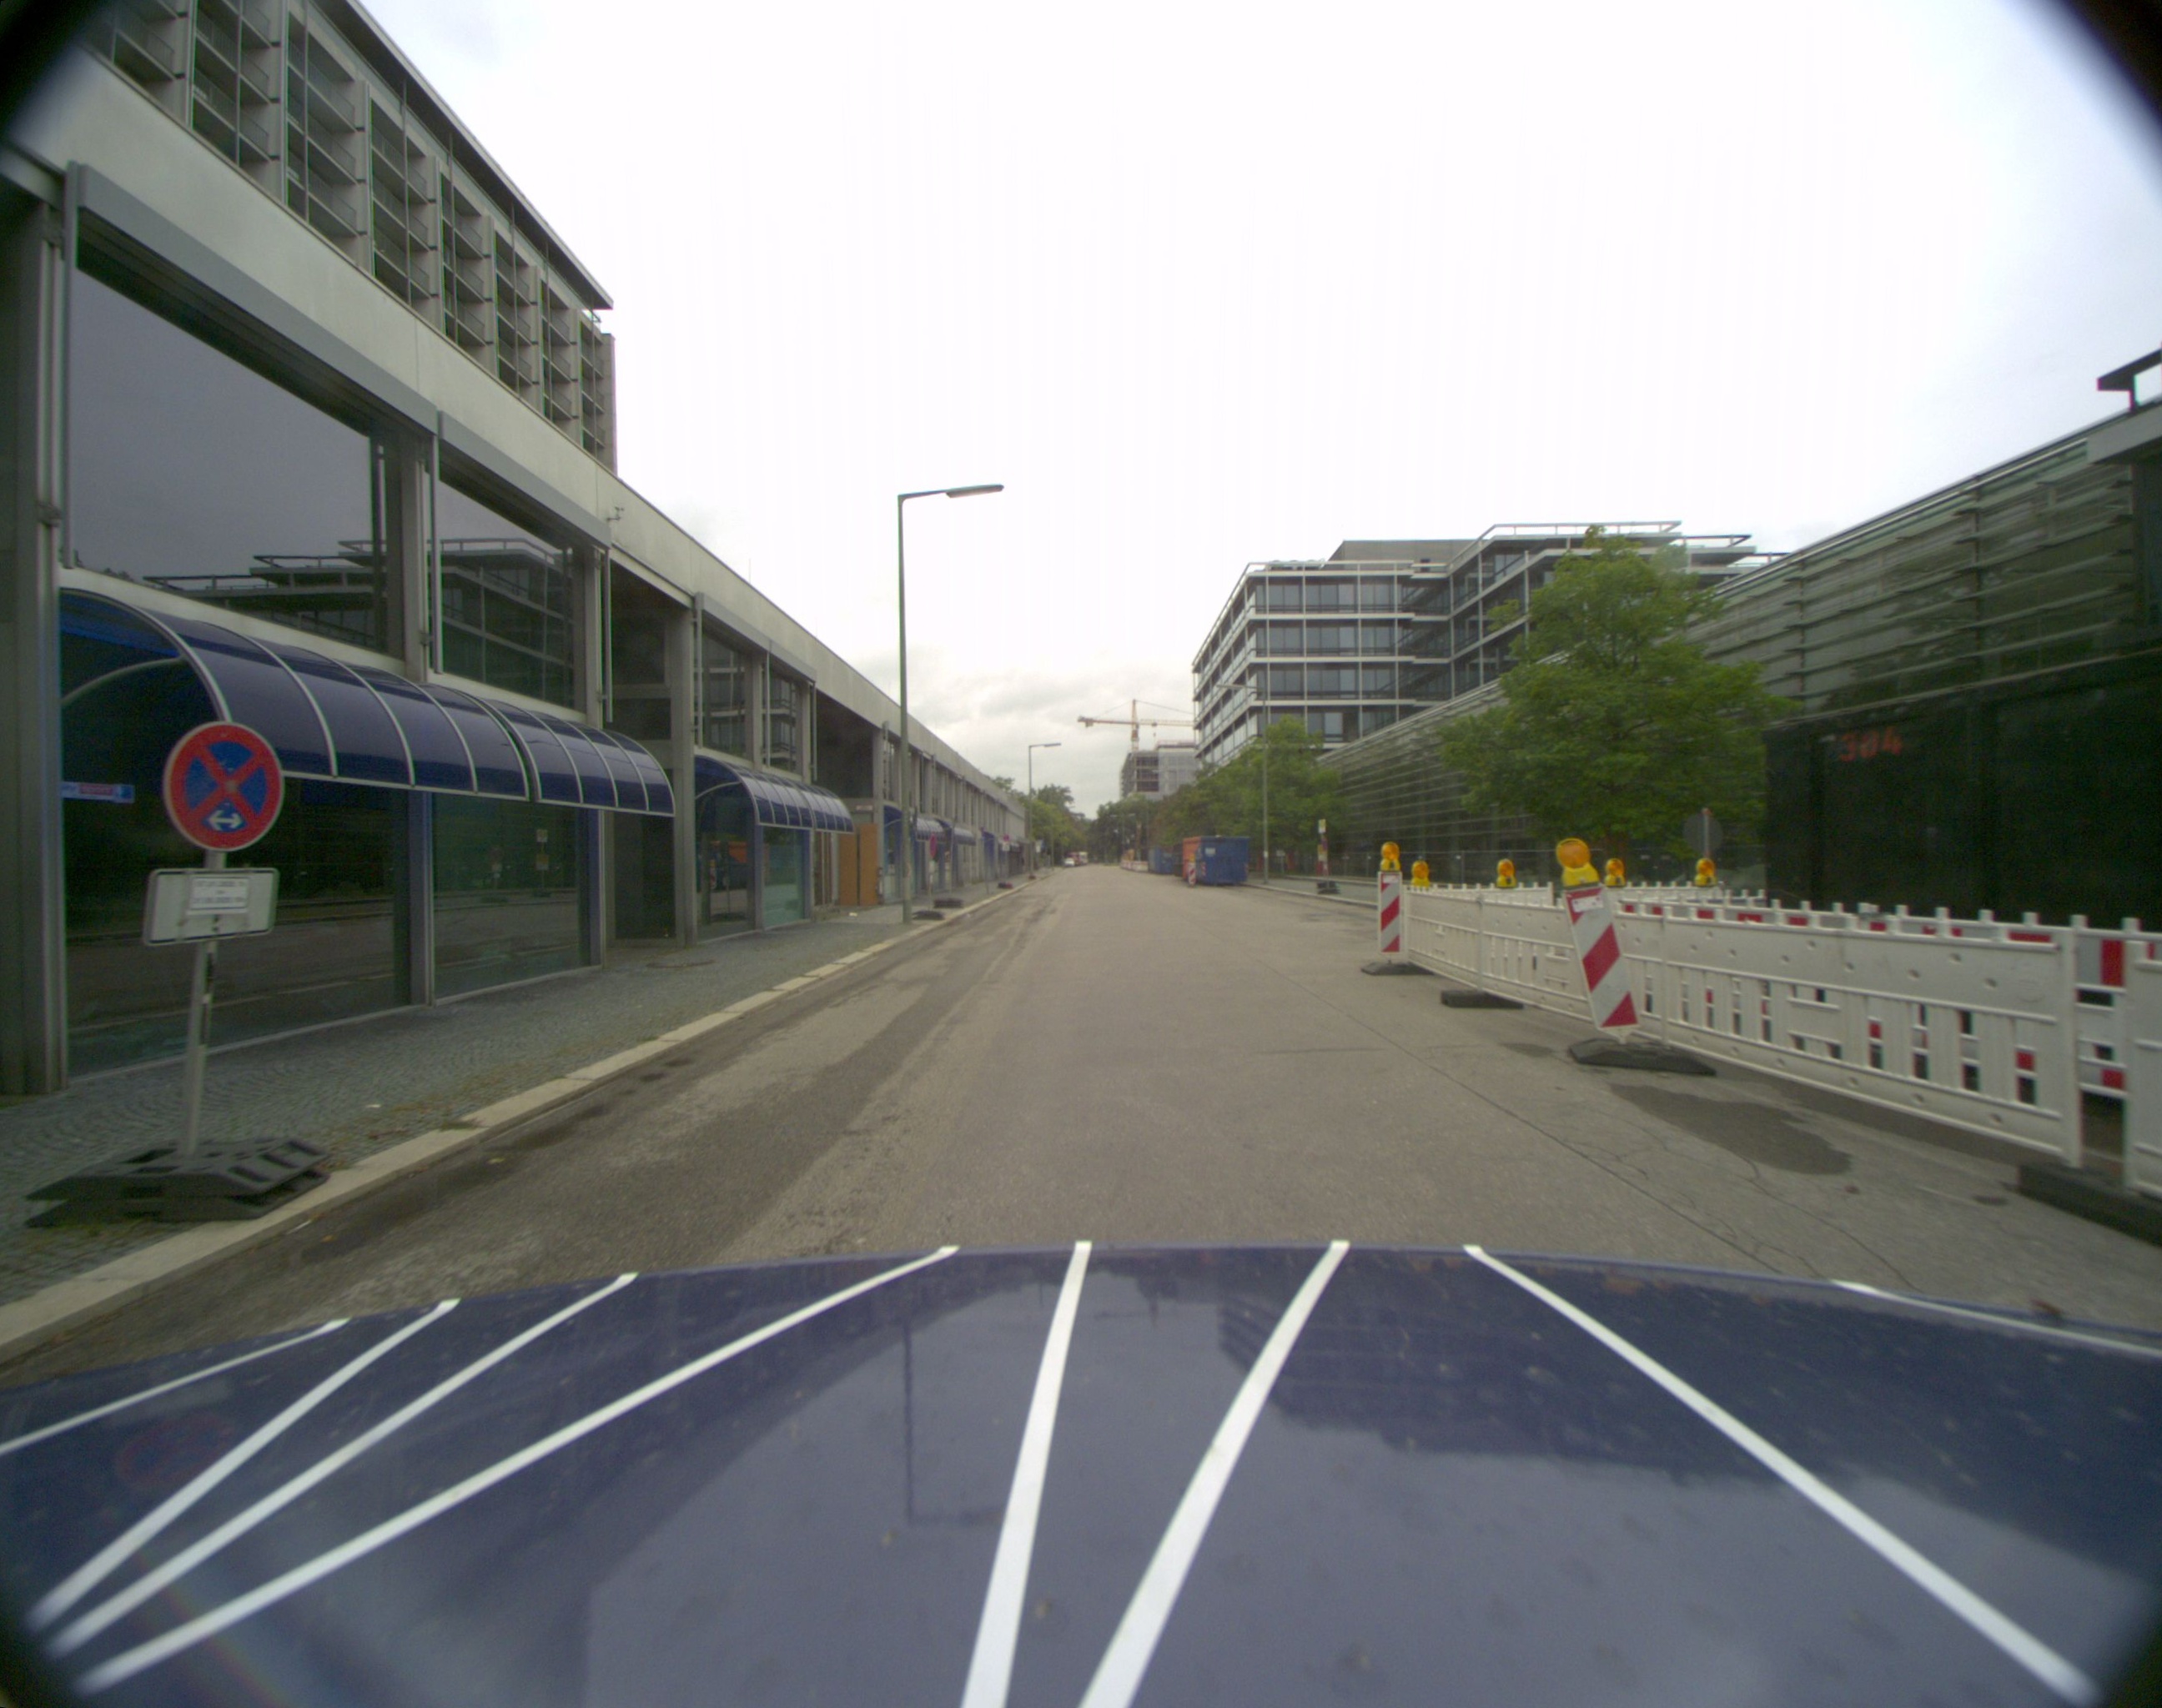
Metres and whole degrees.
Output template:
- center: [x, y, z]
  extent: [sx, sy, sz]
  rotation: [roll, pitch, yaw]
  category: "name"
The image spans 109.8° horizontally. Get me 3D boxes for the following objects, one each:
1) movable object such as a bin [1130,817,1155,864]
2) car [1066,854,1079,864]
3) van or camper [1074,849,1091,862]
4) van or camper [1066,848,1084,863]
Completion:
- center: [8.481, -1.792, 105.769]
  extent: [3.241, 6.285, 8.337]
  rotation: [-1, 0, 3]
  category: "movable object such as a bin"
- center: [-1.469, 0.855, 131.854]
  extent: [1.912, 1.627, 4.000]
  rotation: [-1, 0, 2]
  category: "car"
- center: [0.338, 0.342, 152.415]
  extent: [2.665, 2.436, 6.448]
  rotation: [-1, 0, 7]
  category: "van or camper"
- center: [-1.020, 0.269, 138.123]
  extent: [2.666, 2.751, 6.916]
  rotation: [-1, 0, 4]
  category: "van or camper"
